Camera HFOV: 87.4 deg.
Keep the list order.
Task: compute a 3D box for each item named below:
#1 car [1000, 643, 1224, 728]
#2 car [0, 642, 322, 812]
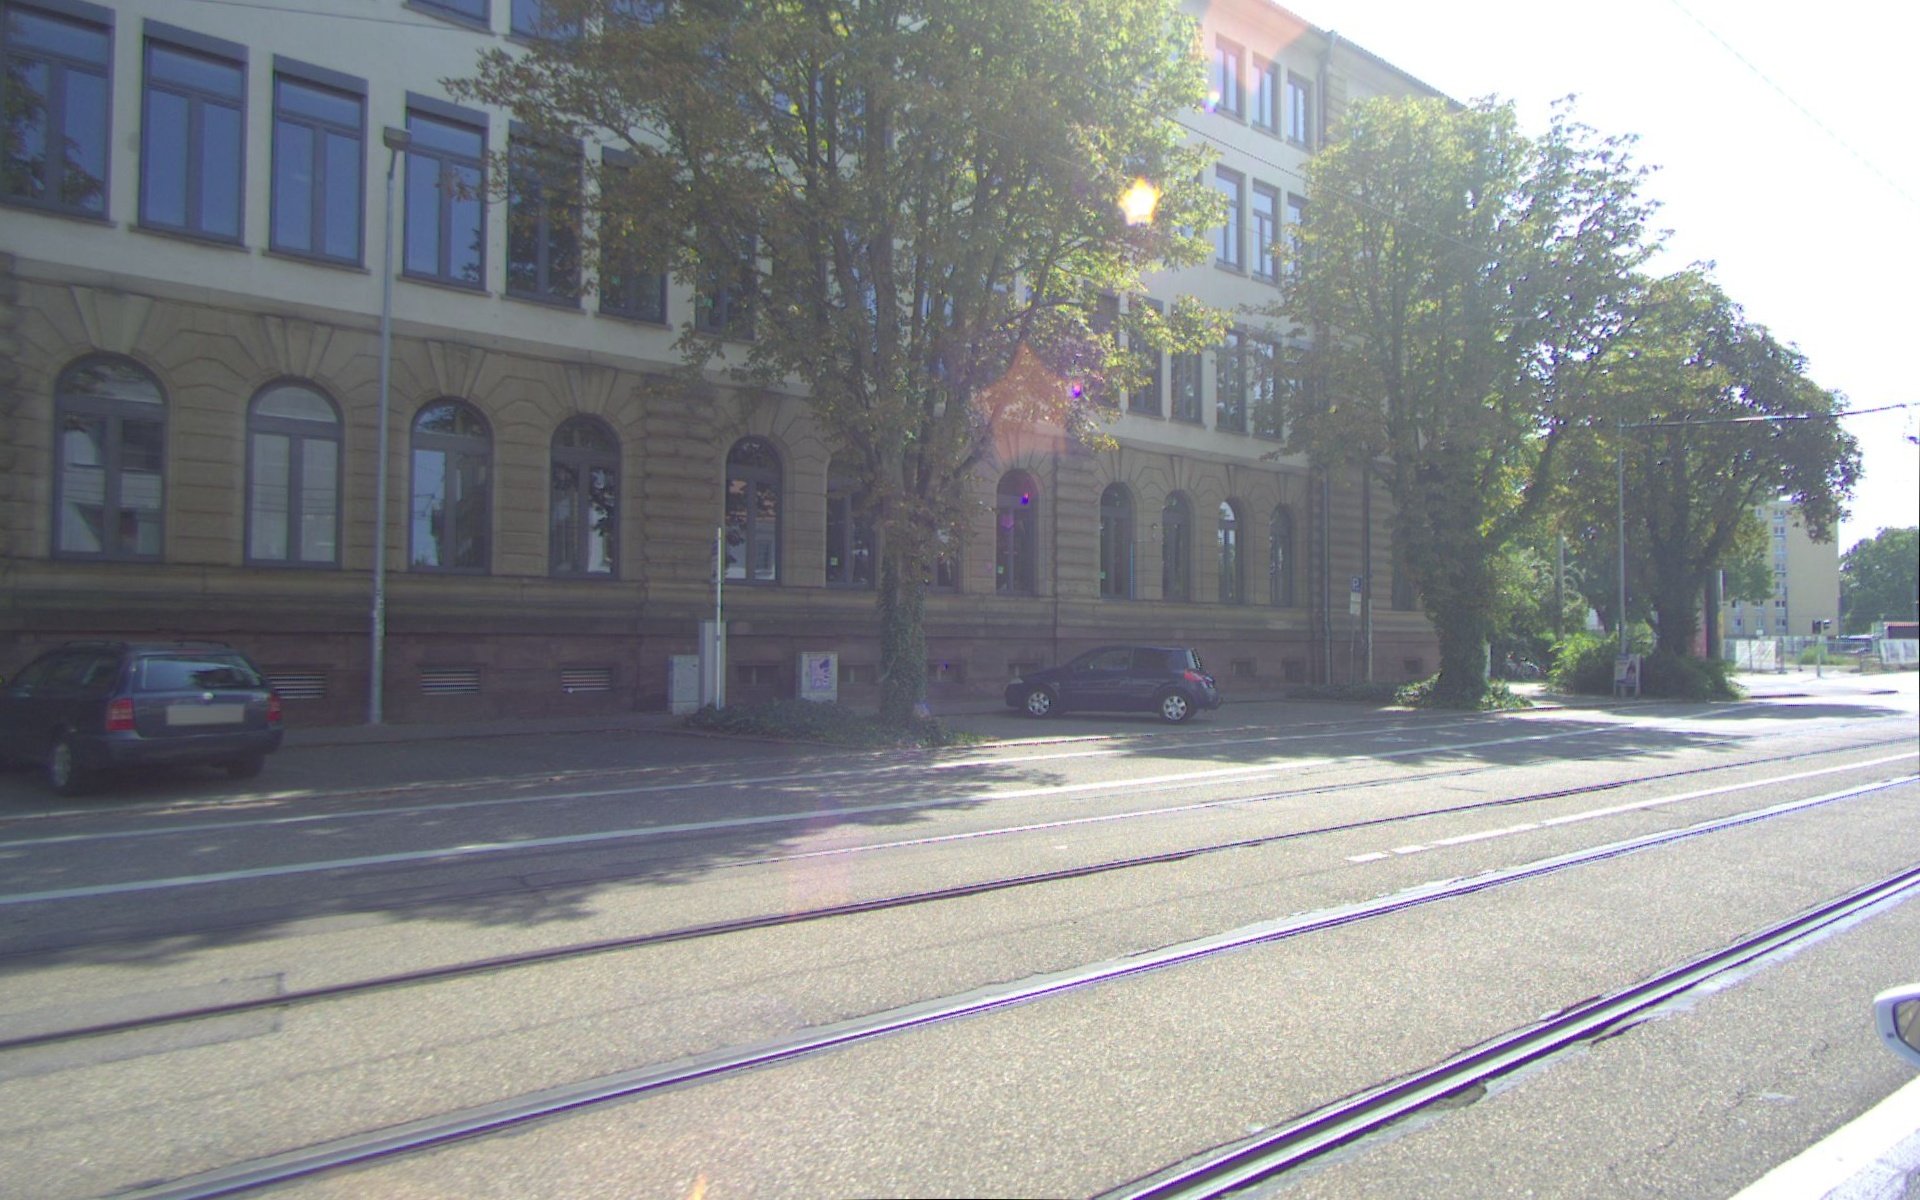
[{"bbox_3d":[2.988,1.604,19.639,4.081,1.515,1.821,-1,-2,19],"label":"car"},{"bbox_3d":[-9.148,1.229,10.991,4.350,1.481,1.818,0,-2,30],"label":"car"}]
